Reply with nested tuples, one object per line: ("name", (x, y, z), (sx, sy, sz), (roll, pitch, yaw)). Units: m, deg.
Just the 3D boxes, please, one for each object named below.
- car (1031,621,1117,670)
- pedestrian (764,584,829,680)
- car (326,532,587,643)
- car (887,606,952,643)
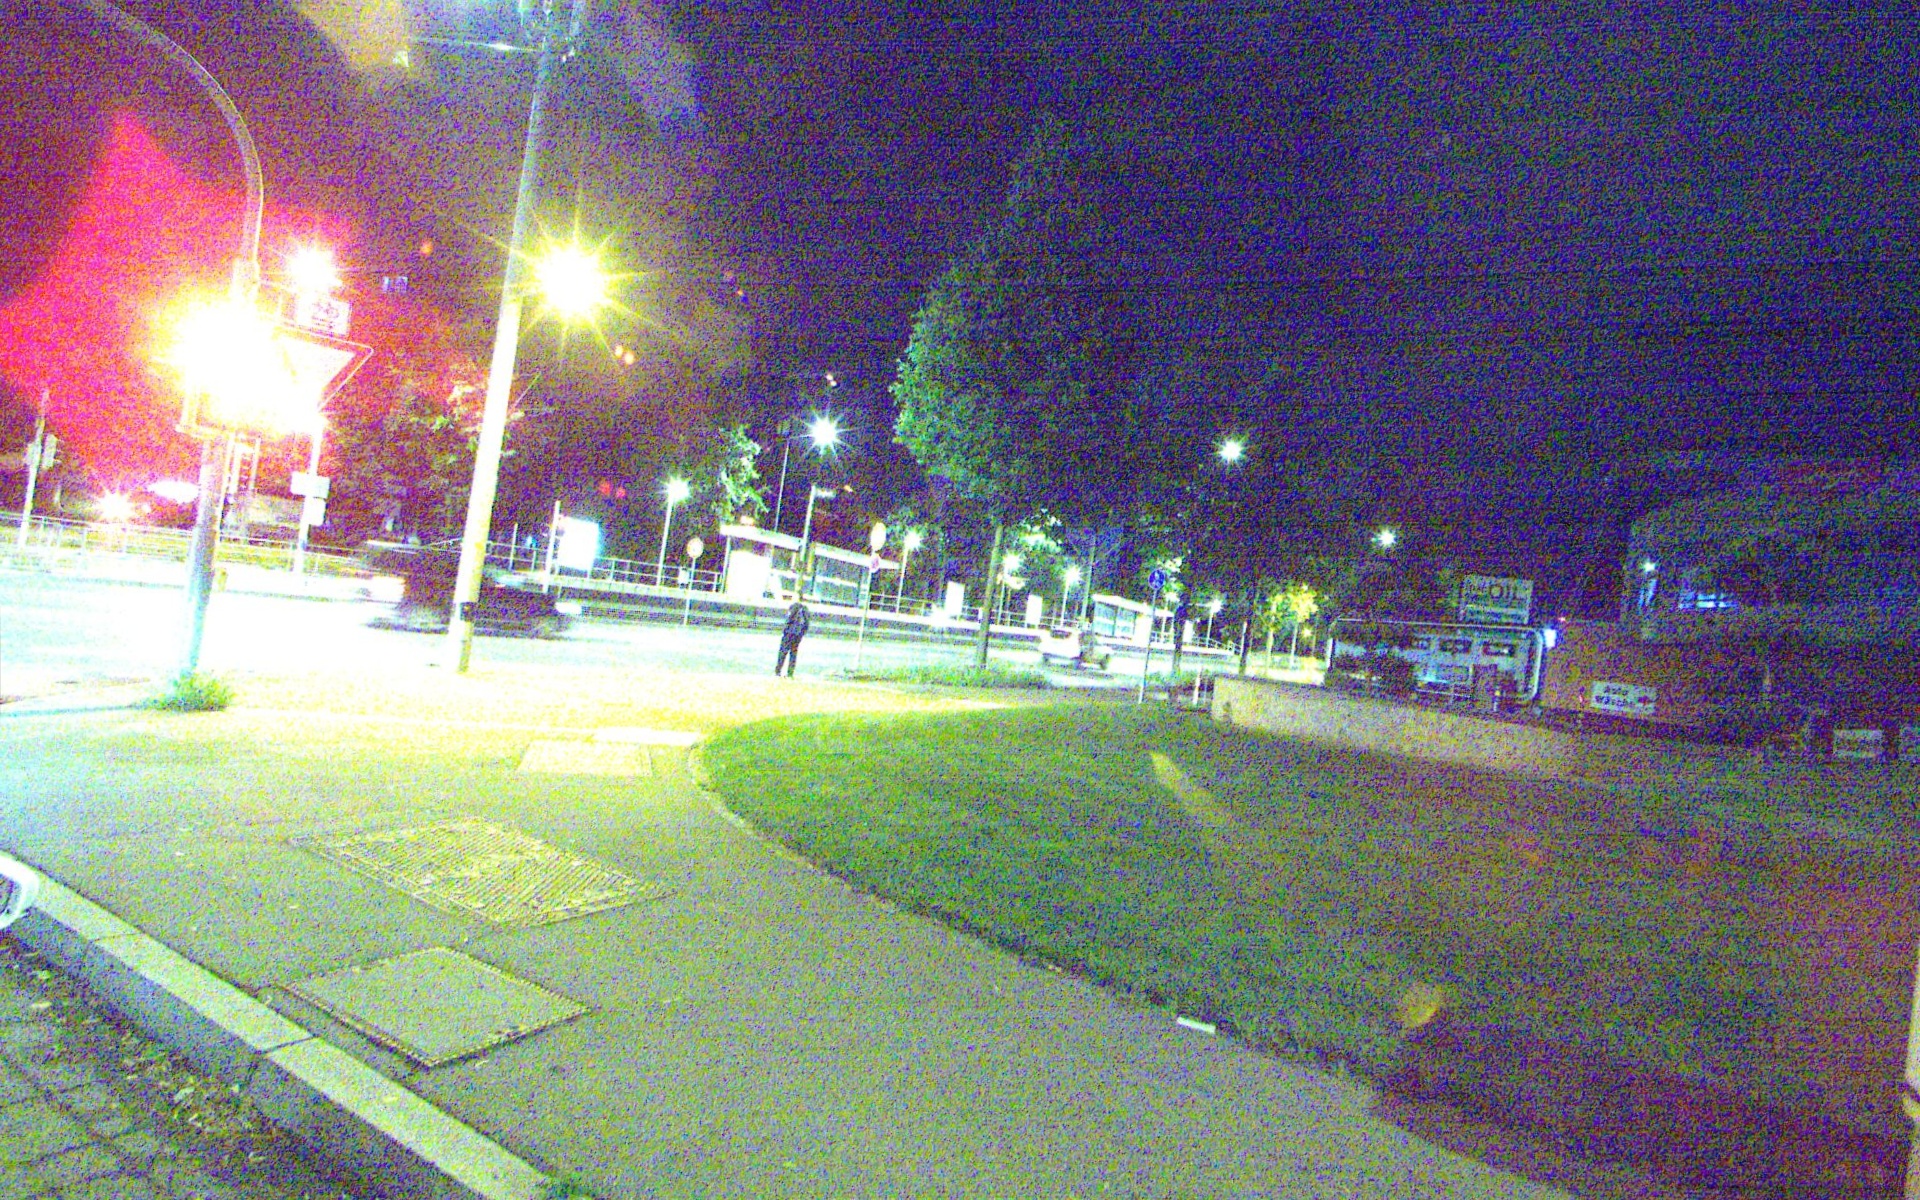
("car", (5.045, 2.021, 43.989), (1.844, 1.703, 4.288), (9, 0, 32))
("pedestrian", (-3.171, 0.625, 19.571), (0.820, 1.767, 0.755), (6, 1, 31))
("car", (-10.169, -0.186, 20.654), (1.781, 1.671, 4.346), (9, 0, 34))
("car", (-2.551, 1.597, 64.291), (1.970, 2.039, 3.985), (6, 0, 36))
